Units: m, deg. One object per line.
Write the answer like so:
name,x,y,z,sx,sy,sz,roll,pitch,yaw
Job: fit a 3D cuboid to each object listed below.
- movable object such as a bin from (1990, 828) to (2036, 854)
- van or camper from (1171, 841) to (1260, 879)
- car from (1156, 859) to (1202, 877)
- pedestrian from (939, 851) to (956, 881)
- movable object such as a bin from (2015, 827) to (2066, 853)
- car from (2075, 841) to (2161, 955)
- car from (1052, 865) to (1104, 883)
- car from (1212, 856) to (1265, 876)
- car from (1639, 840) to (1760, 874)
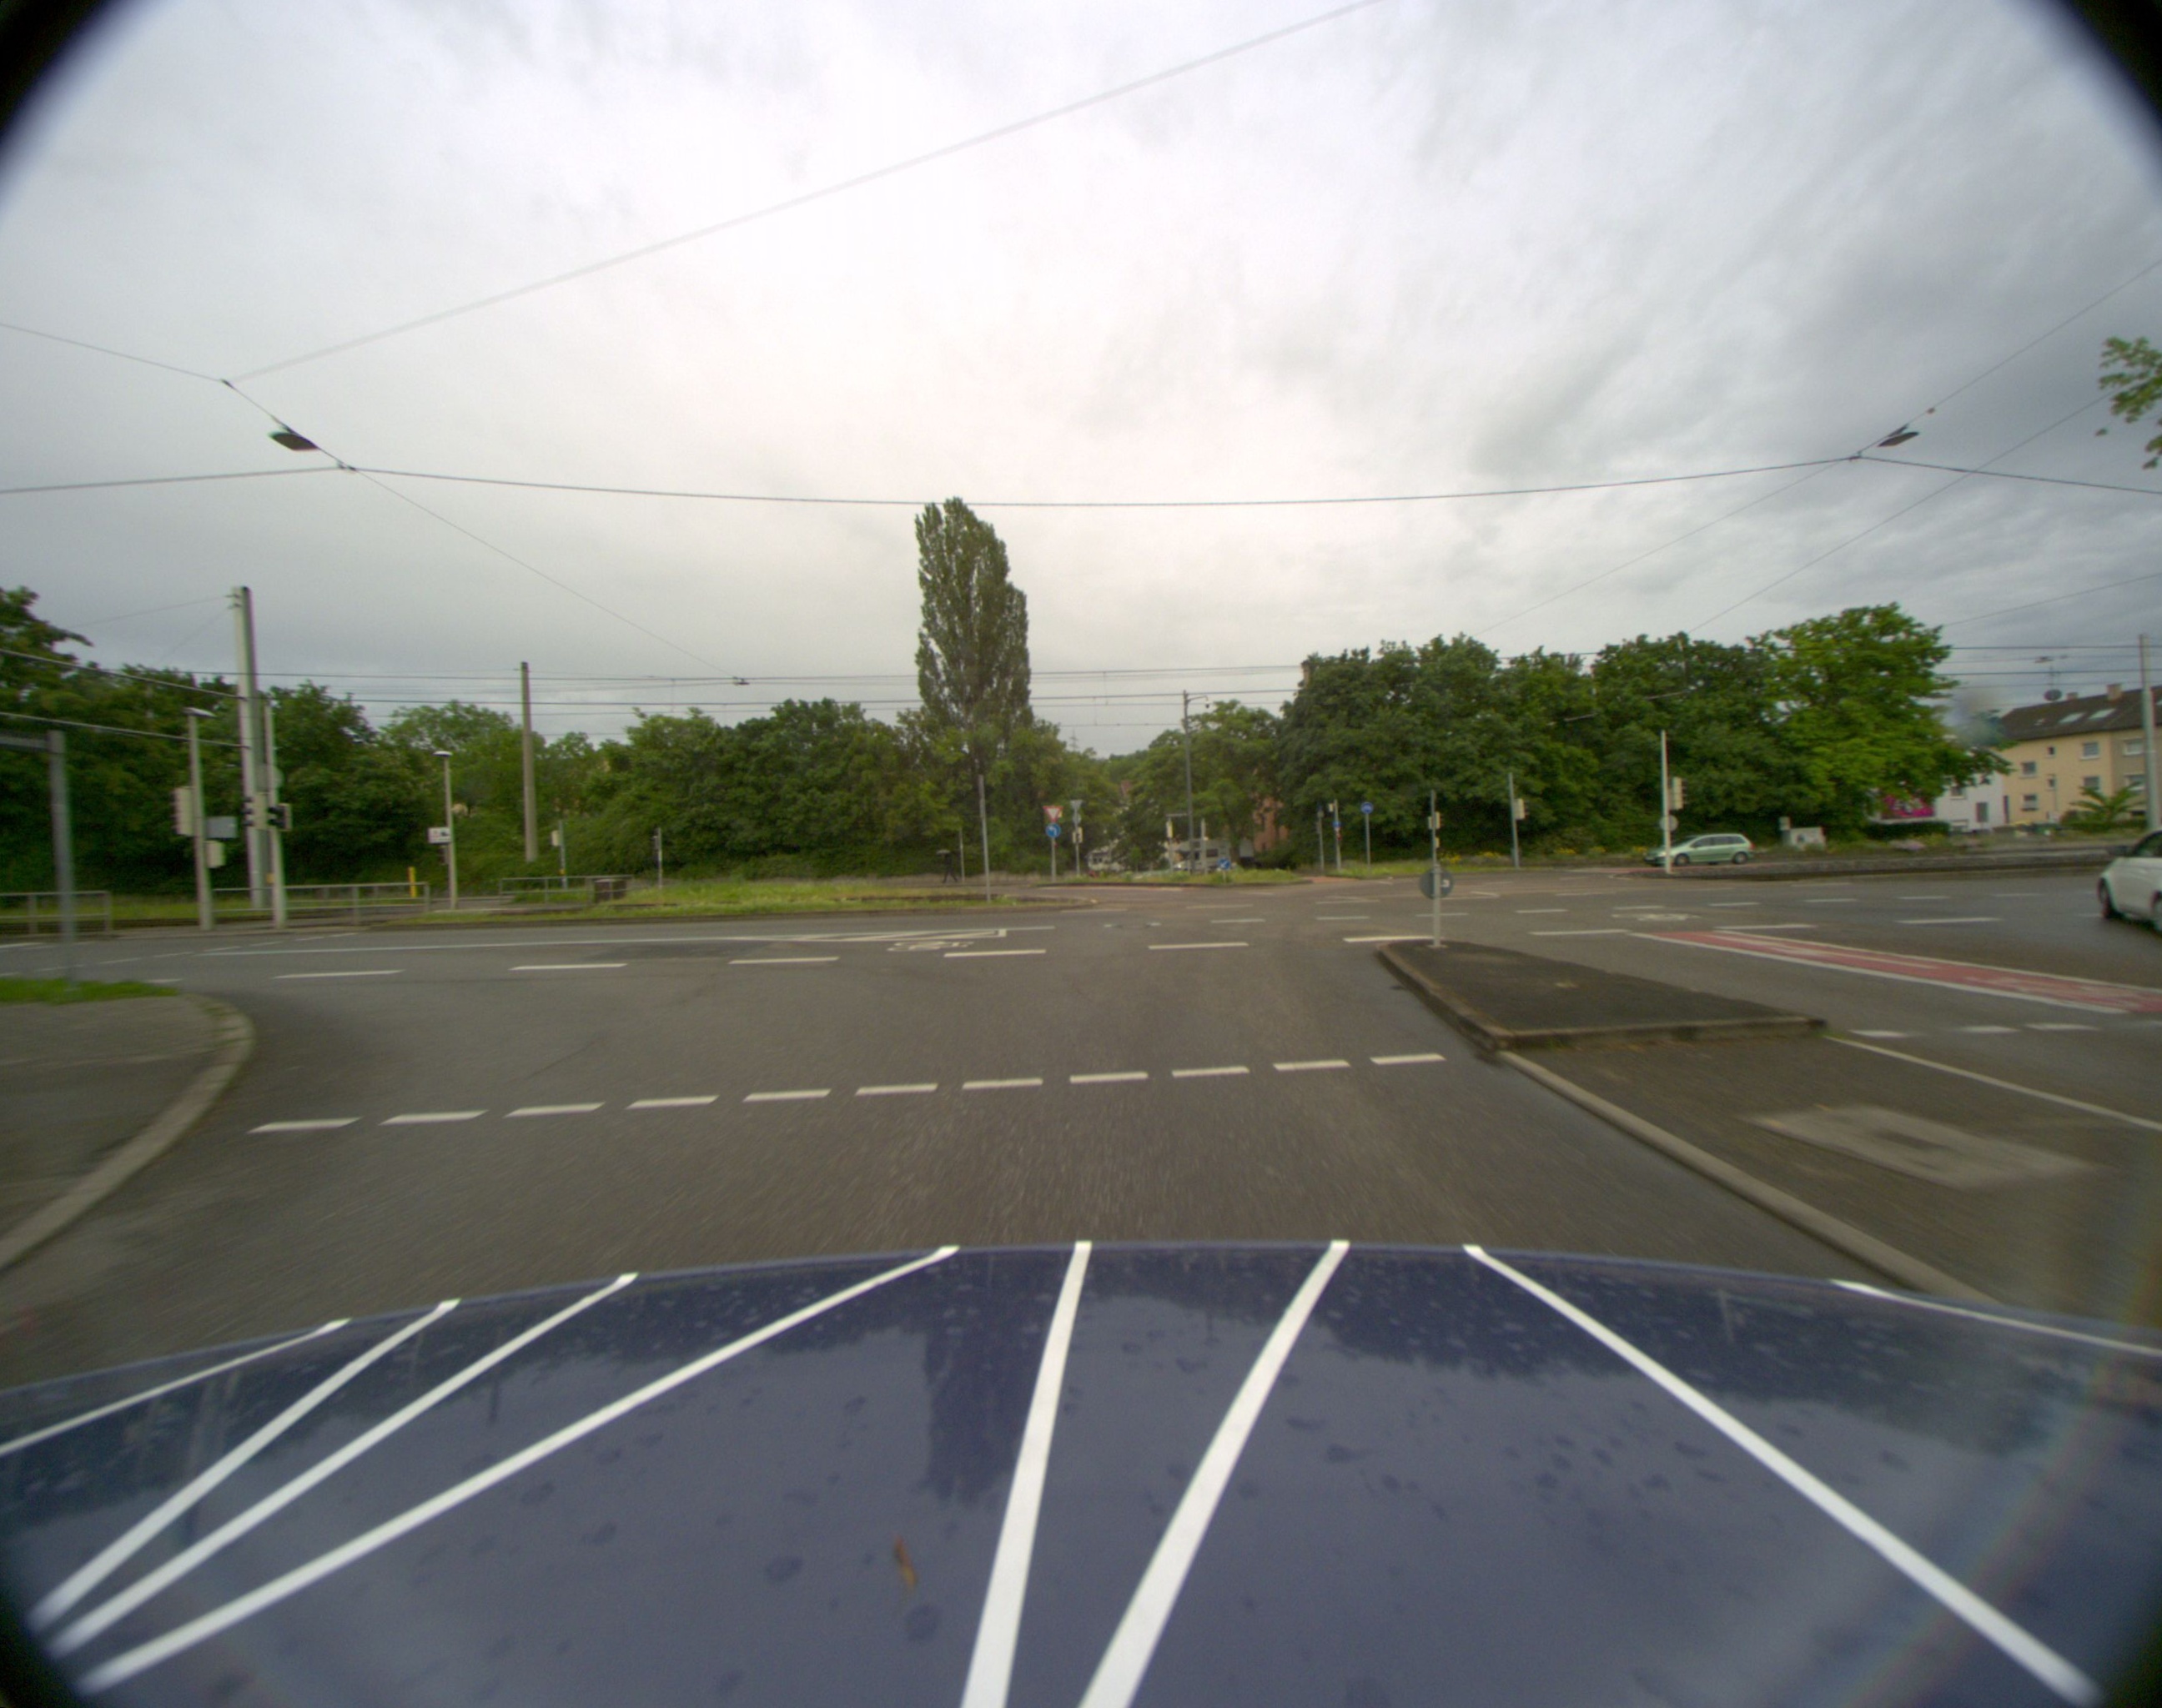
movable object such as a bin,54.868,-0.764,44.738,1.134,1.409,1.188,-4,-1,-3
van or camper,10.464,0.437,59.529,6.429,2.738,2.430,-2,0,-5
car,9.238,1.340,72.043,3.998,1.539,1.836,-2,0,-4
pedestrian,-7.188,0.654,40.905,0.683,1.597,0.810,-4,-1,0
movable object such as a bin,56.630,-0.807,44.860,1.299,1.409,1.315,-4,-1,-3
car,15.880,0.570,10.572,1.687,1.474,4.008,-1,1,40
car,-0.270,1.633,62.261,3.999,1.346,1.677,-2,0,-7
car,11.743,0.908,56.808,3.472,1.346,1.677,-2,0,-7
car,29.292,0.162,36.048,4.198,1.440,1.889,-2,-1,-1
